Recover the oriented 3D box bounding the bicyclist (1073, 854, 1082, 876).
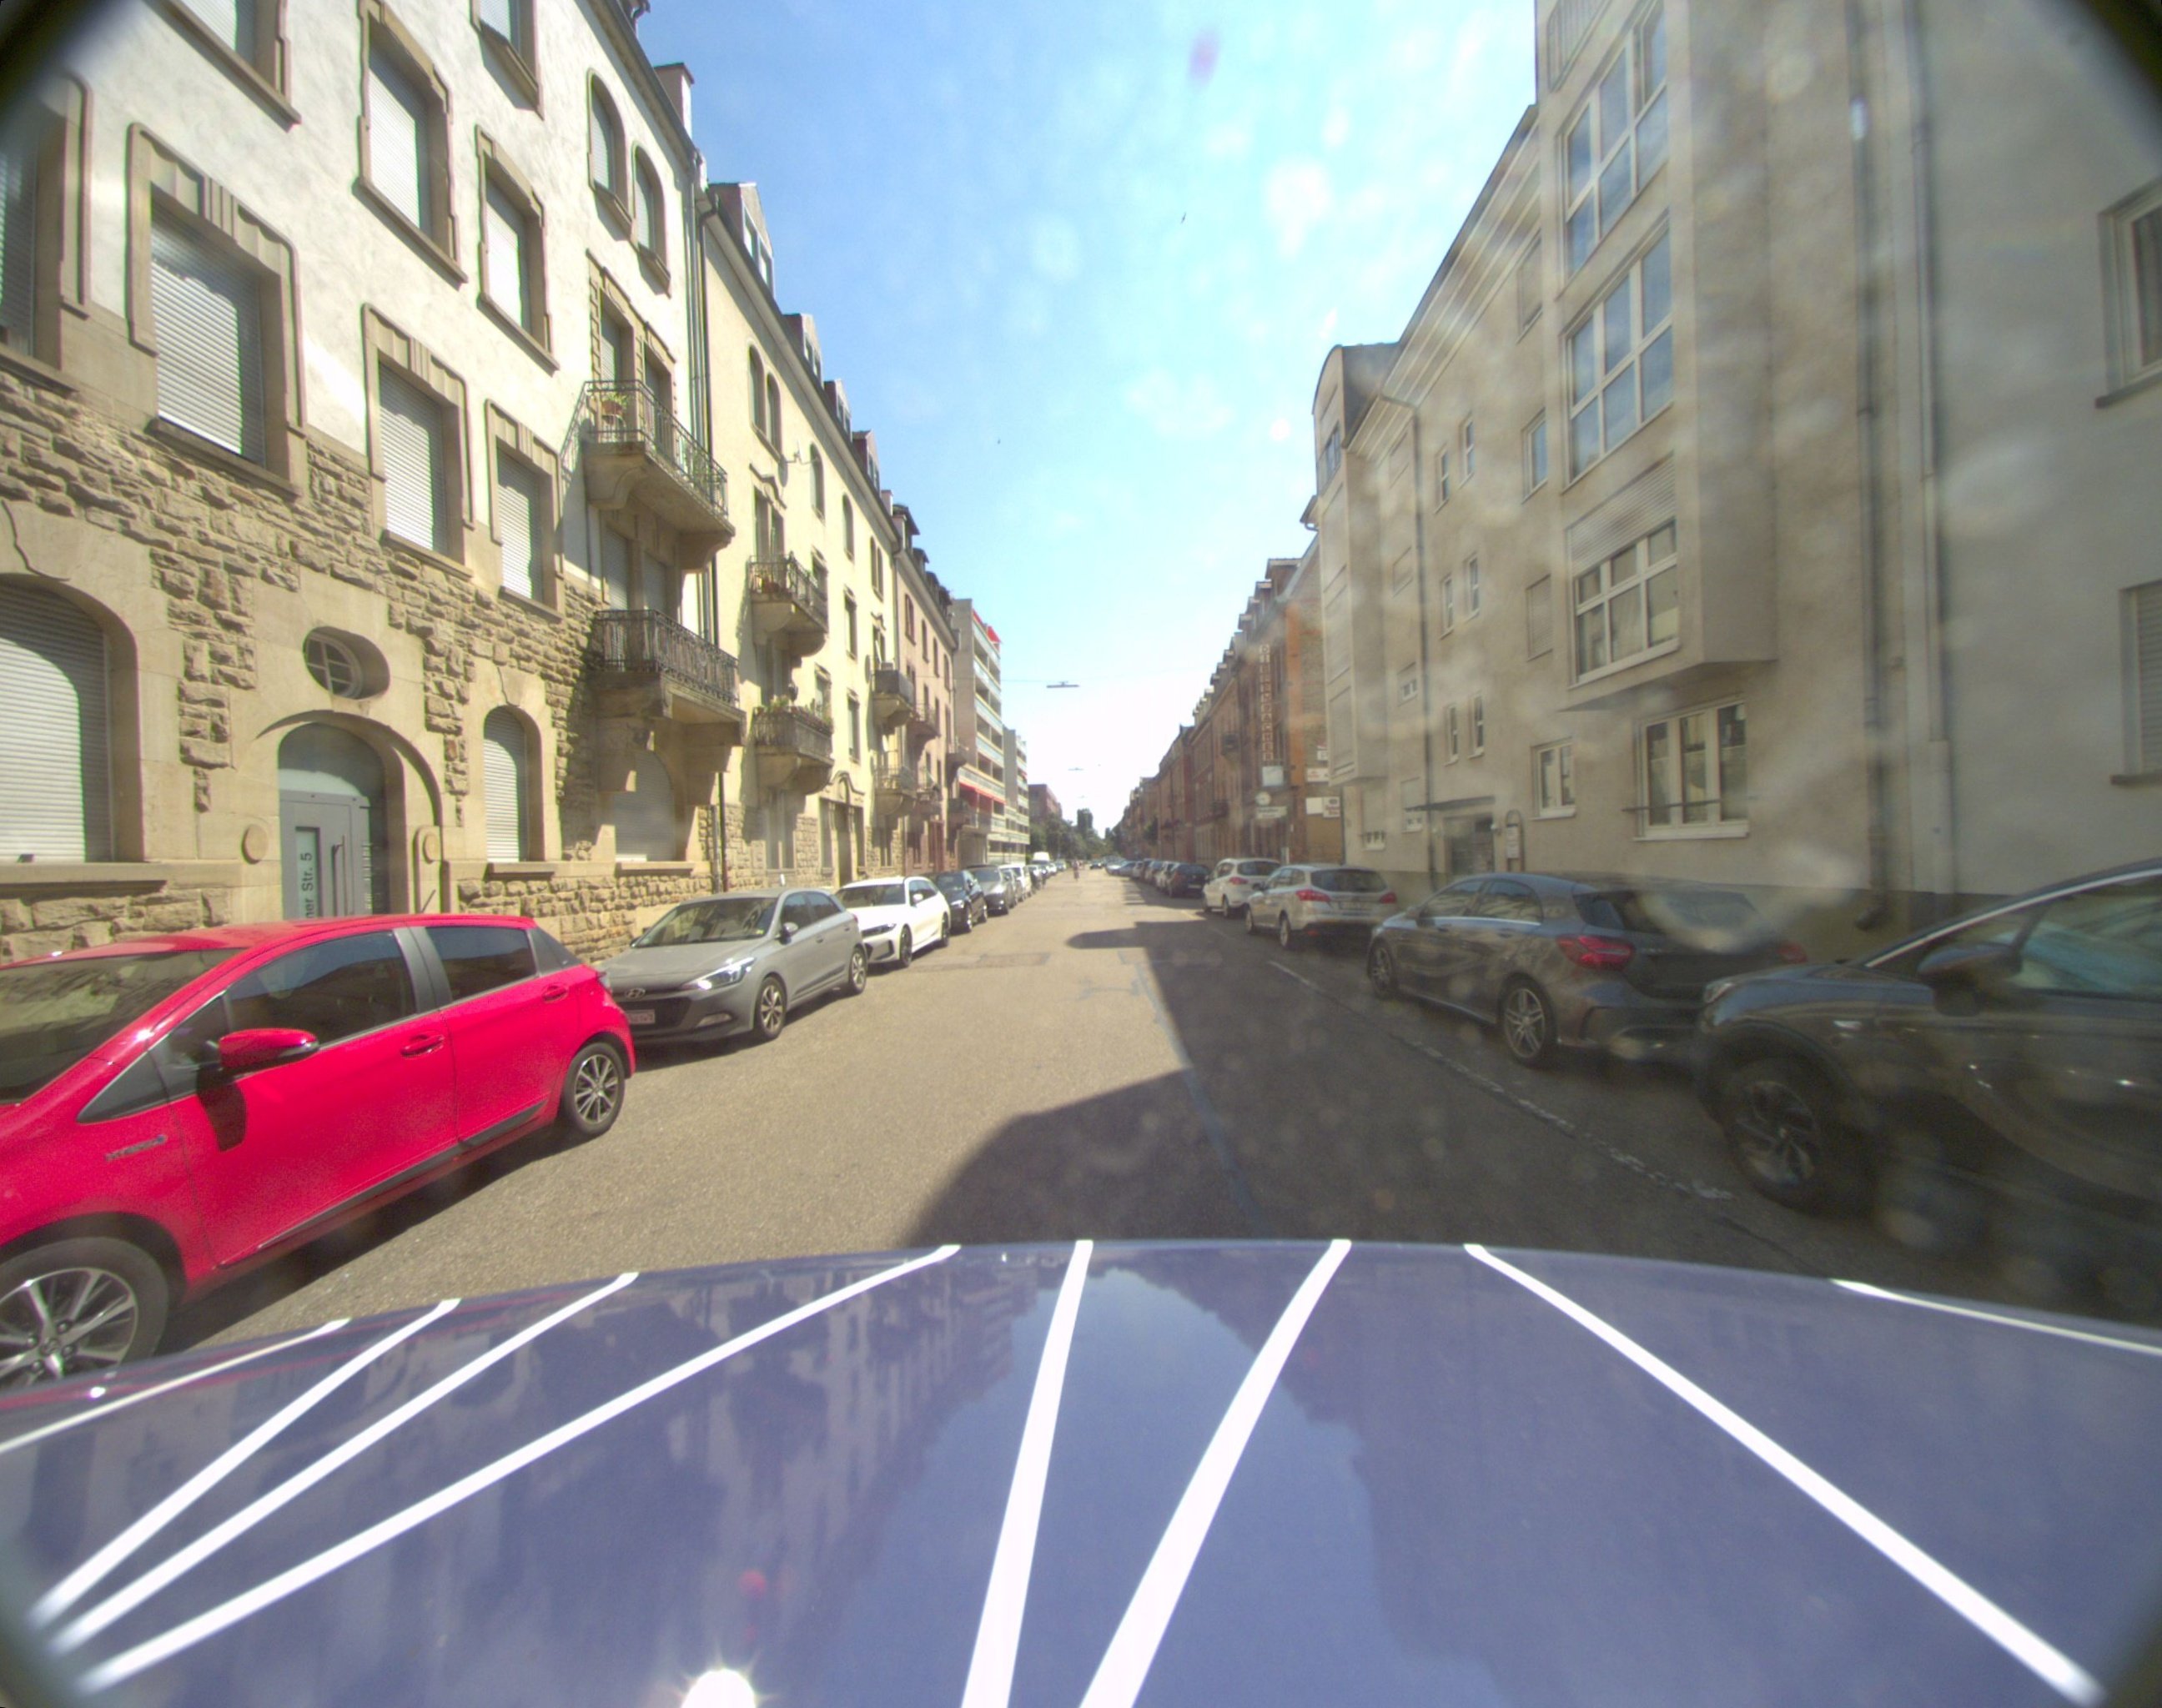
[{"bbox_3d":[-0.266,0.844,57.865,0.645,1.640,0.622,-1,1,1],"label":"bicyclist"}]

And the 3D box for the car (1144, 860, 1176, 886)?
[{"bbox_3d":[4.775,1.118,46.233,1.450,1.464,3.525,2,0,-1],"label":"car"}]

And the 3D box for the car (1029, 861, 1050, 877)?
[{"bbox_3d":[-4.120,1.470,75.863,1.717,1.543,4.000,-1,0,1],"label":"car"}]

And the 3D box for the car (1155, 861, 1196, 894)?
[{"bbox_3d":[4.560,1.098,37.019,1.632,1.421,3.678,2,0,2],"label":"car"}]

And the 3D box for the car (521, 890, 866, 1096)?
[{"bbox_3d":[-3.792,1.256,8.290,1.593,1.444,3.856,-4,0,2],"label":"car"}]

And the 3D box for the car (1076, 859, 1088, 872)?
[{"bbox_3d":[0.188,1.891,124.014,1.826,2.002,3.867,-1,0,1],"label":"car"}]

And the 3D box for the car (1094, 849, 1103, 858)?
[{"bbox_3d":[3.884,-0.154,171.696,1.785,2.002,4.001,-2,0,3],"label":"car"}]

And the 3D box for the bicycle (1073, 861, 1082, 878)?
[{"bbox_3d":[-0.259,1.171,57.781,0.671,1.169,2.094,-1,0,1],"label":"bicycle"}]

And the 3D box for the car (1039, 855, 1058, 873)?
[{"bbox_3d":[-3.705,1.146,87.838,1.902,2.002,4.000,-1,0,1],"label":"car"}]

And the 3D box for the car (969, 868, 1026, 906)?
[{"bbox_3d":[-3.316,1.305,30.923,1.791,1.350,4.352,-1,0,1],"label":"car"}]

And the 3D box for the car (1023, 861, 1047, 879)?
[{"bbox_3d":[-4.009,1.390,66.175,1.754,1.484,3.903,-1,0,1],"label":"car"}]

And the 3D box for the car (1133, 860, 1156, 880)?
[{"bbox_3d":[4.766,1.180,57.369,1.450,1.391,3.526,2,0,1],"label":"car"}]

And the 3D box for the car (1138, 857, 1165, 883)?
[{"bbox_3d":[4.805,1.062,52.432,1.450,1.633,3.525,2,0,0],"label":"car"}]

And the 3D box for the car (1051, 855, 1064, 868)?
[{"bbox_3d":[-3.436,1.070,112.266,1.792,1.844,4.000,-1,0,1],"label":"car"}]

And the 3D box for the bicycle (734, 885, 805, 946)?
[{"bbox_3d":[-6.973,1.350,17.125,0.641,1.183,2.125,2,0,1],"label":"bicycle"}]

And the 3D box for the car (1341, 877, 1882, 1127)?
[{"bbox_3d":[3.992,0.971,6.821,1.769,1.385,4.348,0,0,-1],"label":"car"}]

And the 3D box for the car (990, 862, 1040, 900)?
[{"bbox_3d":[-3.056,1.208,35.960,1.651,1.613,4.093,-1,0,5],"label":"car"}]

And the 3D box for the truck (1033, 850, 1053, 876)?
[{"bbox_3d":[-4.103,0.951,82.322,1.869,2.715,4.508,-1,0,1],"label":"truck"}]

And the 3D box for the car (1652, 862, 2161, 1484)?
[{"bbox_3d":[3.694,0.869,1.822,1.608,1.634,3.976,0,0,-1],"label":"car"}]

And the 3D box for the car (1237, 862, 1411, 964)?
[{"bbox_3d":[4.228,0.942,13.989,1.735,1.486,4.348,1,0,-1],"label":"car"}]

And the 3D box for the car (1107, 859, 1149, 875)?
[{"bbox_3d":[4.534,1.233,74.103,3.996,1.422,1.678,-1,0,2],"label":"car"}]

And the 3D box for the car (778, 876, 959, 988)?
[{"bbox_3d":[-3.586,1.241,13.778,1.720,1.444,4.597,-4,0,3],"label":"car"}]

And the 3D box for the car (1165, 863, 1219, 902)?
[{"bbox_3d":[4.603,1.155,31.924,1.781,1.421,3.837,2,0,2],"label":"car"}]

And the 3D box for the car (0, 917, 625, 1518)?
[{"bbox_3d":[-3.857,1.189,3.100,1.574,1.444,3.842,-4,0,0],"label":"car"}]

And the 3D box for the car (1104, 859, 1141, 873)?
[{"bbox_3d":[4.599,1.352,84.402,3.996,1.491,1.652,-1,0,1],"label":"car"}]

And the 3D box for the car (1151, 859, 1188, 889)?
[{"bbox_3d":[4.861,1.075,41.886,1.450,1.534,3.525,2,0,-2],"label":"car"}]

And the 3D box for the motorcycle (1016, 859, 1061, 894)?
[{"bbox_3d":[-2.243,1.189,40.390,2.197,1.613,0.764,-6,1,-40],"label":"motorcycle"}]

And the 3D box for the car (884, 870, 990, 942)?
[{"bbox_3d":[-3.493,1.211,19.319,1.741,1.449,4.668,-1,0,0],"label":"car"}]

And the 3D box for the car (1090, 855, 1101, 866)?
[{"bbox_3d":[2.307,1.030,121.302,1.625,1.600,3.597,-1,0,0],"label":"car"}]

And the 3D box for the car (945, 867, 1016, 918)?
[{"bbox_3d":[-3.231,1.208,25.278,1.828,1.423,4.489,-2,0,-2],"label":"car"}]

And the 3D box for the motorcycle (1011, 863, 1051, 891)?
[{"bbox_3d":[-2.840,1.308,43.311,2.197,1.422,0.733,-6,1,-40],"label":"motorcycle"}]

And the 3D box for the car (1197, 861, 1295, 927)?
[{"bbox_3d":[4.434,1.025,21.008,1.633,1.540,3.852,2,0,-3],"label":"car"}]
